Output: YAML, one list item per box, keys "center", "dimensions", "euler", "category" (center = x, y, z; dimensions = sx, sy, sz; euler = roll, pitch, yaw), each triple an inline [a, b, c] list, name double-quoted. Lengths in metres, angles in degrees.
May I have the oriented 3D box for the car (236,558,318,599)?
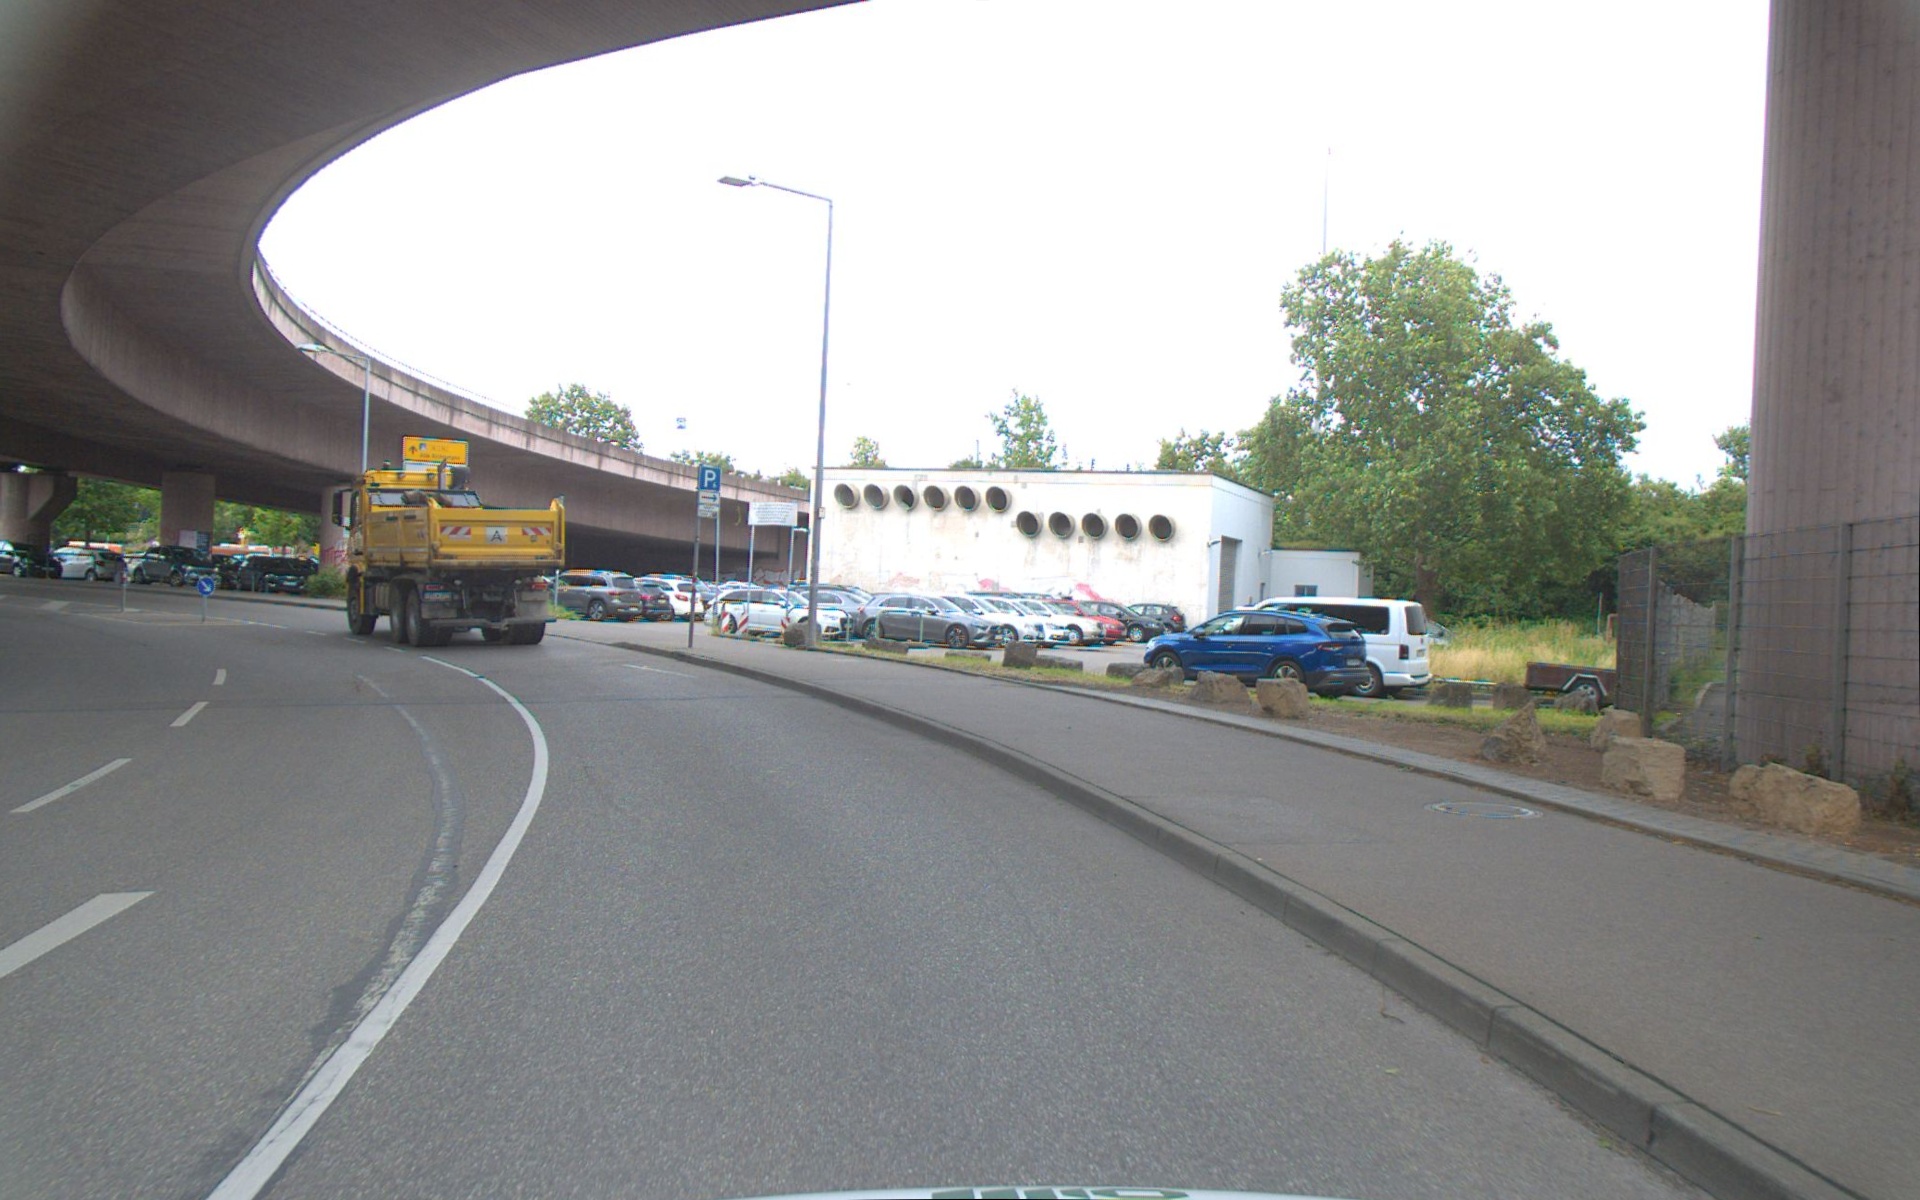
- center: [-27.607, -0.863, 66.811]
  dimensions: [1.777, 1.533, 3.796]
  euler: [4, -2, -44]
  category: "car"

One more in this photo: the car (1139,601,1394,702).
- center: [5.861, 0.944, 31.993]
  dimensions: [4.602, 1.663, 1.765]
  euler: [3, 1, 42]
  category: "car"

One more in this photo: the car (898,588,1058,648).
- center: [0.536, 0.522, 49.415]
  dimensions: [4.398, 1.540, 1.837]
  euler: [3, 0, 26]
  category: "car"

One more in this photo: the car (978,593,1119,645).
- center: [2.999, 0.647, 56.194]
  dimensions: [4.398, 1.540, 1.837]
  euler: [3, 0, 26]
  category: "car"

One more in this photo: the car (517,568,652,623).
- center: [-13.113, -0.161, 57.720]
  dimensions: [4.366, 1.704, 1.745]
  euler: [2, 0, 23]
  category: "car"

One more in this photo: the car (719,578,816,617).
- center: [-9.005, -0.129, 77.349]
  dimensions: [4.094, 1.620, 1.838]
  euler: [2, 0, 23]
  category: "car"

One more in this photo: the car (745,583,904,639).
- center: [-4.215, 0.324, 51.480]
  dimensions: [4.578, 1.501, 1.857]
  euler: [3, 0, 24]
  category: "car"

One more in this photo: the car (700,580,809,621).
- center: [-8.582, 0.031, 68.999]
  dimensions: [4.161, 1.535, 1.708]
  euler: [2, 0, 23]
  category: "car"

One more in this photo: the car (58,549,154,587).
- center: [-38.909, -1.460, 75.342]
  dimensions: [3.915, 1.579, 1.639]
  euler: [2, 0, 20]
  category: "car"

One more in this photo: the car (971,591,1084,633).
- center: [2.825, 0.504, 69.470]
  dimensions: [4.385, 1.559, 1.768]
  euler: [3, 0, 24]
  category: "car"

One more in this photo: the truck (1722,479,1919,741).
- center: [11.663, 0.164, 17.106]
  dimensions: [2.382, 2.791, 7.190]
  euler: [2, 0, -21]
  category: "truck"

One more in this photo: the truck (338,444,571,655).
- center: [-10.445, -1.014, 33.583]
  dimensions: [2.731, 3.762, 7.797]
  euler: [-1, 2, -31]
  category: "truck"

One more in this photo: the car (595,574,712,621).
- center: [-11.589, -0.091, 62.520]
  dimensions: [3.992, 1.584, 1.756]
  euler: [2, 0, 23]
  category: "car"

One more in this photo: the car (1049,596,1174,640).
- center: [5.775, 0.686, 62.953]
  dimensions: [4.341, 1.450, 1.837]
  euler: [3, 0, 26]
  category: "car"

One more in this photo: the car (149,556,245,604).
- center: [-27.975, -0.747, 60.626]
  dimensions: [3.339, 1.560, 1.606]
  euler: [2, -2, 33]
  category: "car"

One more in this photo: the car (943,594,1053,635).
- center: [1.490, 0.556, 64.659]
  dimensions: [3.884, 1.417, 1.768]
  euler: [3, 0, 24]
  category: "car"

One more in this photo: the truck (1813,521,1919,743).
- center: [14.215, 0.485, 21.059]
  dimensions: [2.411, 2.936, 6.093]
  euler: [2, 0, -16]
  category: "truck"

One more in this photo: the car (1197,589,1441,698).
- center: [7.447, 0.845, 34.461]
  dimensions: [4.581, 1.991, 1.889]
  euler: [2, 1, 32]
  category: "car"

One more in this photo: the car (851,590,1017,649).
- center: [-0.750, 0.541, 47.046]
  dimensions: [4.341, 1.450, 1.837]
  euler: [3, 0, 26]
  category: "car"

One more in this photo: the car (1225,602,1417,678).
- center: [8.785, 0.937, 40.312]
  dimensions: [4.261, 1.615, 1.774]
  euler: [2, 1, 25]
  category: "car"

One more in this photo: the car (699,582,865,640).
- center: [-5.282, 0.323, 49.123]
  dimensions: [4.580, 1.501, 1.857]
  euler: [3, 0, 26]
  category: "car"

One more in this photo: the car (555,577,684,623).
- center: [-12.394, 0.002, 60.178]
  dimensions: [4.355, 1.474, 1.756]
  euler: [2, 0, 23]
  category: "car"

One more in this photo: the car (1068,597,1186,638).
- center: [6.734, 0.687, 66.764]
  dimensions: [4.341, 1.450, 1.837]
  euler: [3, 0, 26]
  category: "car"

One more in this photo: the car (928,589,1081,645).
- center: [1.404, 0.523, 51.982]
  dimensions: [4.398, 1.540, 1.837]
  euler: [3, 0, 26]
  category: "car"

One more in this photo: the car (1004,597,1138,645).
- center: [3.932, 0.730, 58.545]
  dimensions: [4.341, 1.450, 1.837]
  euler: [3, 0, 26]
  category: "car"

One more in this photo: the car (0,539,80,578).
- center: [-37.090, -1.672, 66.382]
  dimensions: [3.505, 1.421, 1.606]
  euler: [2, -2, 33]
  category: "car"

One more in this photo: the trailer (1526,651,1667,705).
- center: [12.334, 1.501, 32.095]
  dimensions: [2.500, 0.915, 1.484]
  euler: [1, 0, 21]
  category: "trailer"

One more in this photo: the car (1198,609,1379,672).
- center: [8.535, 1.015, 43.034]
  dimensions: [4.262, 1.408, 1.774]
  euler: [2, 1, 27]
  category: "car"
